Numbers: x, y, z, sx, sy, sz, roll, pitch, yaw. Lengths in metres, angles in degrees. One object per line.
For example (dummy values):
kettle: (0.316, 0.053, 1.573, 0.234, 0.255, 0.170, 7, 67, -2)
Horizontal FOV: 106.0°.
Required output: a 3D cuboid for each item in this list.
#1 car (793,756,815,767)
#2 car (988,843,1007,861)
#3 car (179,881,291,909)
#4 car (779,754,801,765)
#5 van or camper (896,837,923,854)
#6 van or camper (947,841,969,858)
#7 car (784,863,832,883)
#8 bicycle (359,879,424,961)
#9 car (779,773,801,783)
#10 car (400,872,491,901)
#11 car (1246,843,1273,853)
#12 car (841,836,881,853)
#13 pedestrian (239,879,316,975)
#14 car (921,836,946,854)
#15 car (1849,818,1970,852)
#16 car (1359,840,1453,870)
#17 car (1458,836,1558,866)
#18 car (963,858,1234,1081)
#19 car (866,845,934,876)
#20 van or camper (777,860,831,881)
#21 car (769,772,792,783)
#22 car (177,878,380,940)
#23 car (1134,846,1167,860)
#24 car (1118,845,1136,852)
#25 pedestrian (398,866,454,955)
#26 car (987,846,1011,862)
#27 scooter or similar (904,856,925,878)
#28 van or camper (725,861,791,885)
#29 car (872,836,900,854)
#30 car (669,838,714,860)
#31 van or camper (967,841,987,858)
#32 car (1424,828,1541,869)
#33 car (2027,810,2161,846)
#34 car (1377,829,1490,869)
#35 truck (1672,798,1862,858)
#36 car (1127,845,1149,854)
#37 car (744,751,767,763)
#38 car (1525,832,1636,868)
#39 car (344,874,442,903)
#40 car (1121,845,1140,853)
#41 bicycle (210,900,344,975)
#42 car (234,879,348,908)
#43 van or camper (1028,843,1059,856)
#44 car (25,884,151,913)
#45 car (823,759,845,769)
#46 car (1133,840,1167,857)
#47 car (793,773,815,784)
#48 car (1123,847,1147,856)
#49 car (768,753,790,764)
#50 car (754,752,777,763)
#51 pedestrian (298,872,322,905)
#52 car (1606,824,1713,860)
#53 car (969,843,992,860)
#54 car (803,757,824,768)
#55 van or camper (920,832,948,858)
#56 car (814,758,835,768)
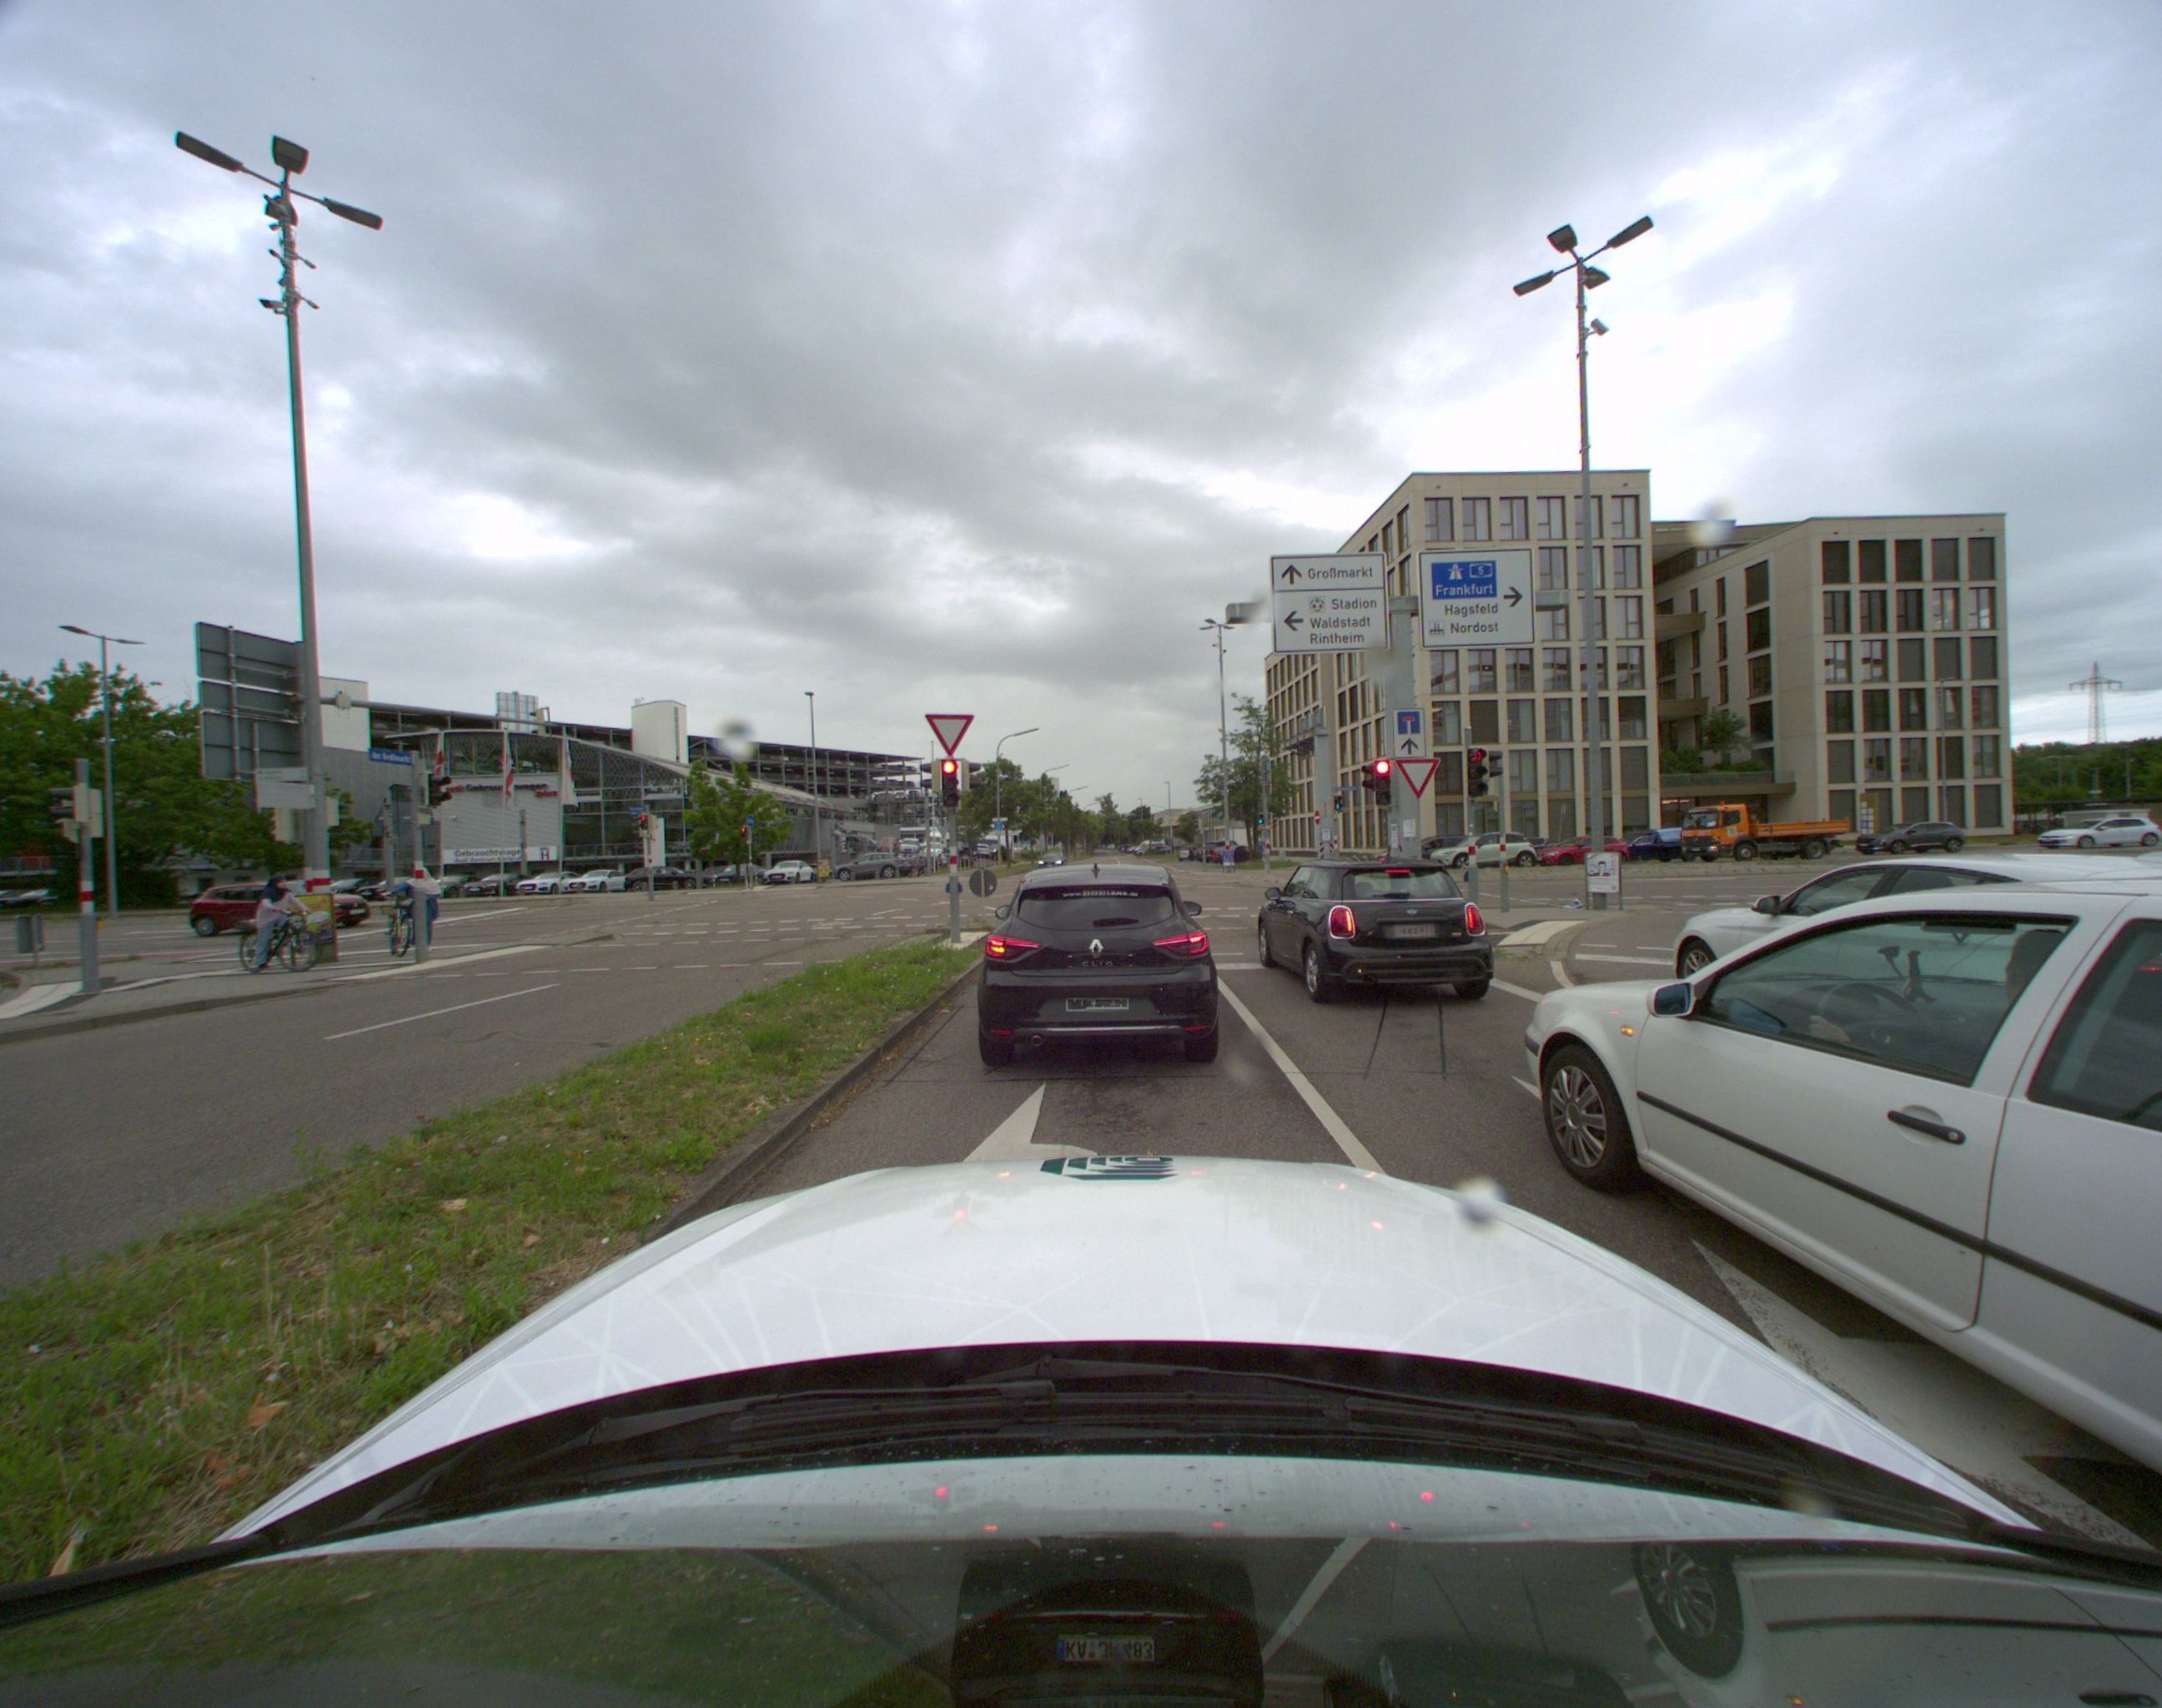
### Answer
car: (-53.851, -17.988, 158.143, 3.948, 1.667, 2.013, -1, 0, 33)
car: (-9.767, -0.199, 95.493, 1.988, 2.014, 3.997, 0, -1, -2)
car: (-46.627, 2.251, 45.003, 1.845, 1.421, 4.214, -2, -2, -2)
car: (-55.630, -17.974, 155.542, 3.948, 1.667, 2.013, -1, 0, 33)
van or camper: (-17.669, -0.813, 83.931, 1.988, 1.651, 3.997, 0, -1, -2)
van or camper: (-14.340, -0.498, 95.208, 1.988, 2.014, 3.997, 0, -1, -2)
car: (-26.111, 1.807, 78.023, 3.979, 1.838, 1.757, 0, -1, -4)
bicycle: (-12.889, 1.222, 15.206, 1.909, 1.396, 0.601, -5, 0, 43)
car: (-55.743, -14.543, 155.838, 3.948, 1.667, 2.013, -1, 0, 33)
car: (-35.547, 1.840, 45.720, 1.897, 1.486, 4.186, -2, -2, -2)
car: (24.256, -0.843, 110.564, 3.238, 1.332, 1.477, 0, -1, -17)
car: (-24.556, -1.085, 90.991, 3.975, 1.838, 1.759, 0, -1, -1)
pedestrian: (-13.511, 1.205, 13.707, 0.644, 1.549, 0.655, -2, -2, 5)
car: (-15.208, -0.919, 84.000, 1.988, 1.823, 3.997, 0, -1, -2)
car: (42.565, -0.970, 41.915, 4.089, 1.657, 2.002, 0, -1, 3)
car: (16.332, 0.054, 41.014, 4.074, 1.432, 1.750, 0, -1, -3)
car: (21.510, -0.141, 41.125, 4.126, 1.490, 1.870, 0, -1, -3)
car: (0.174, 0.763, 7.276, 1.750, 1.434, 4.001, 0, -1, 2)
car: (-13.763, 0.484, 62.157, 4.765, 2.013, 1.997, -4, 0, -5)
van or camper: (-23.744, 1.407, 69.985, 3.977, 1.711, 1.846, 0, -1, -2)
car: (-56.711, -14.418, 153.778, 3.948, 1.667, 2.013, -1, 0, 33)
car: (-23.703, 1.593, 24.189, 4.058, 1.487, 1.738, -3, 0, -5)
car: (10.973, -0.146, 128.925, 5.158, 2.014, 2.143, 0, -1, -1)
car: (12.934, -1.626, 229.874, 4.771, 1.891, 2.143, 0, -1, -1)
pedestrian: (-12.560, 1.081, 15.618, 0.683, 1.626, 0.645, -5, -1, 42)
car: (-8.494, -0.022, 84.730, 1.987, 1.618, 3.999, 0, -1, 0)
scooter or similar: (-9.956, 0.769, 48.688, 0.553, 1.218, 1.567, 1, 1, 16)
van or camper: (-23.433, 1.383, 59.120, 3.977, 1.677, 1.998, 0, -1, -3)
car: (-20.106, -0.909, 84.230, 1.988, 1.849, 3.997, 0, -1, -2)
car: (-30.523, -0.397, 63.947, 1.815, 1.662, 3.996, 0, -1, -3)
van or camper: (-12.141, -0.514, 95.347, 1.988, 2.014, 3.997, 0, -1, -2)
car: (16.918, -0.225, 34.441, 4.047, 1.643, 1.903, 0, -1, -4)
car: (50.757, -1.261, 40.649, 4.319, 1.657, 2.006, -1, -1, 10)
car: (16.269, -0.214, 37.731, 4.396, 1.769, 1.998, 0, -1, -3)
truck: (32.053, -1.171, 38.228, 6.633, 2.638, 2.820, 0, -1, -1)
car: (12.261, -0.986, 175.524, 4.771, 1.891, 2.143, 0, -1, -1)
car: (-59.710, -17.740, 149.322, 3.948, 1.667, 2.013, -1, 0, 33)
car: (23.239, -0.159, 37.967, 3.976, 1.601, 1.999, 0, -1, -2)
car: (-38.405, 1.954, 45.622, 1.883, 1.471, 4.375, -2, -2, -2)
car: (13.264, -1.412, 218.616, 5.156, 2.014, 2.144, 0, -1, 0)
bicycle: (-13.495, 1.392, 13.675, 1.930, 1.166, 0.509, -3, -2, 7)
car: (-43.820, 2.173, 45.347, 1.837, 1.472, 4.660, -1, -2, -2)
van or camper: (-7.011, -0.897, 152.090, 5.580, 2.372, 2.000, 0, -1, 0)
car: (-55.295, 2.509, 45.484, 1.860, 1.394, 4.131, 0, -6, -2)
car: (-49.800, -18.147, 164.188, 3.948, 1.667, 2.013, -1, 0, 33)
car: (12.756, -1.027, 151.317, 6.096, 3.116, 2.134, 0, -1, 0)
car: (-53.830, -14.657, 158.024, 3.948, 1.667, 2.013, -1, 0, 33)
car: (12.078, -0.633, 182.139, 5.156, 2.014, 2.144, 0, -1, 0)
car: (-56.976, -17.978, 153.705, 3.948, 1.667, 2.013, -1, 0, 33)
car: (-58.665, -17.883, 151.348, 3.948, 1.667, 2.013, -1, 0, 33)
pedestrian: (-45.155, 2.024, 47.708, 0.714, 1.871, 0.673, -2, -2, 0)
car: (29.474, -0.570, 41.587, 4.126, 1.769, 1.998, 0, -1, -3)
car: (-10.342, -0.251, 83.910, 1.988, 1.618, 3.997, 0, -1, -2)
car: (-52.621, -17.982, 160.127, 3.948, 1.667, 2.013, -1, 0, 33)
van or camper: (-17.187, -1.022, 95.290, 2.529, 3.026, 4.840, 0, -1, -2)
car: (-51.151, -18.159, 162.396, 3.948, 1.667, 2.013, -1, 0, 33)
